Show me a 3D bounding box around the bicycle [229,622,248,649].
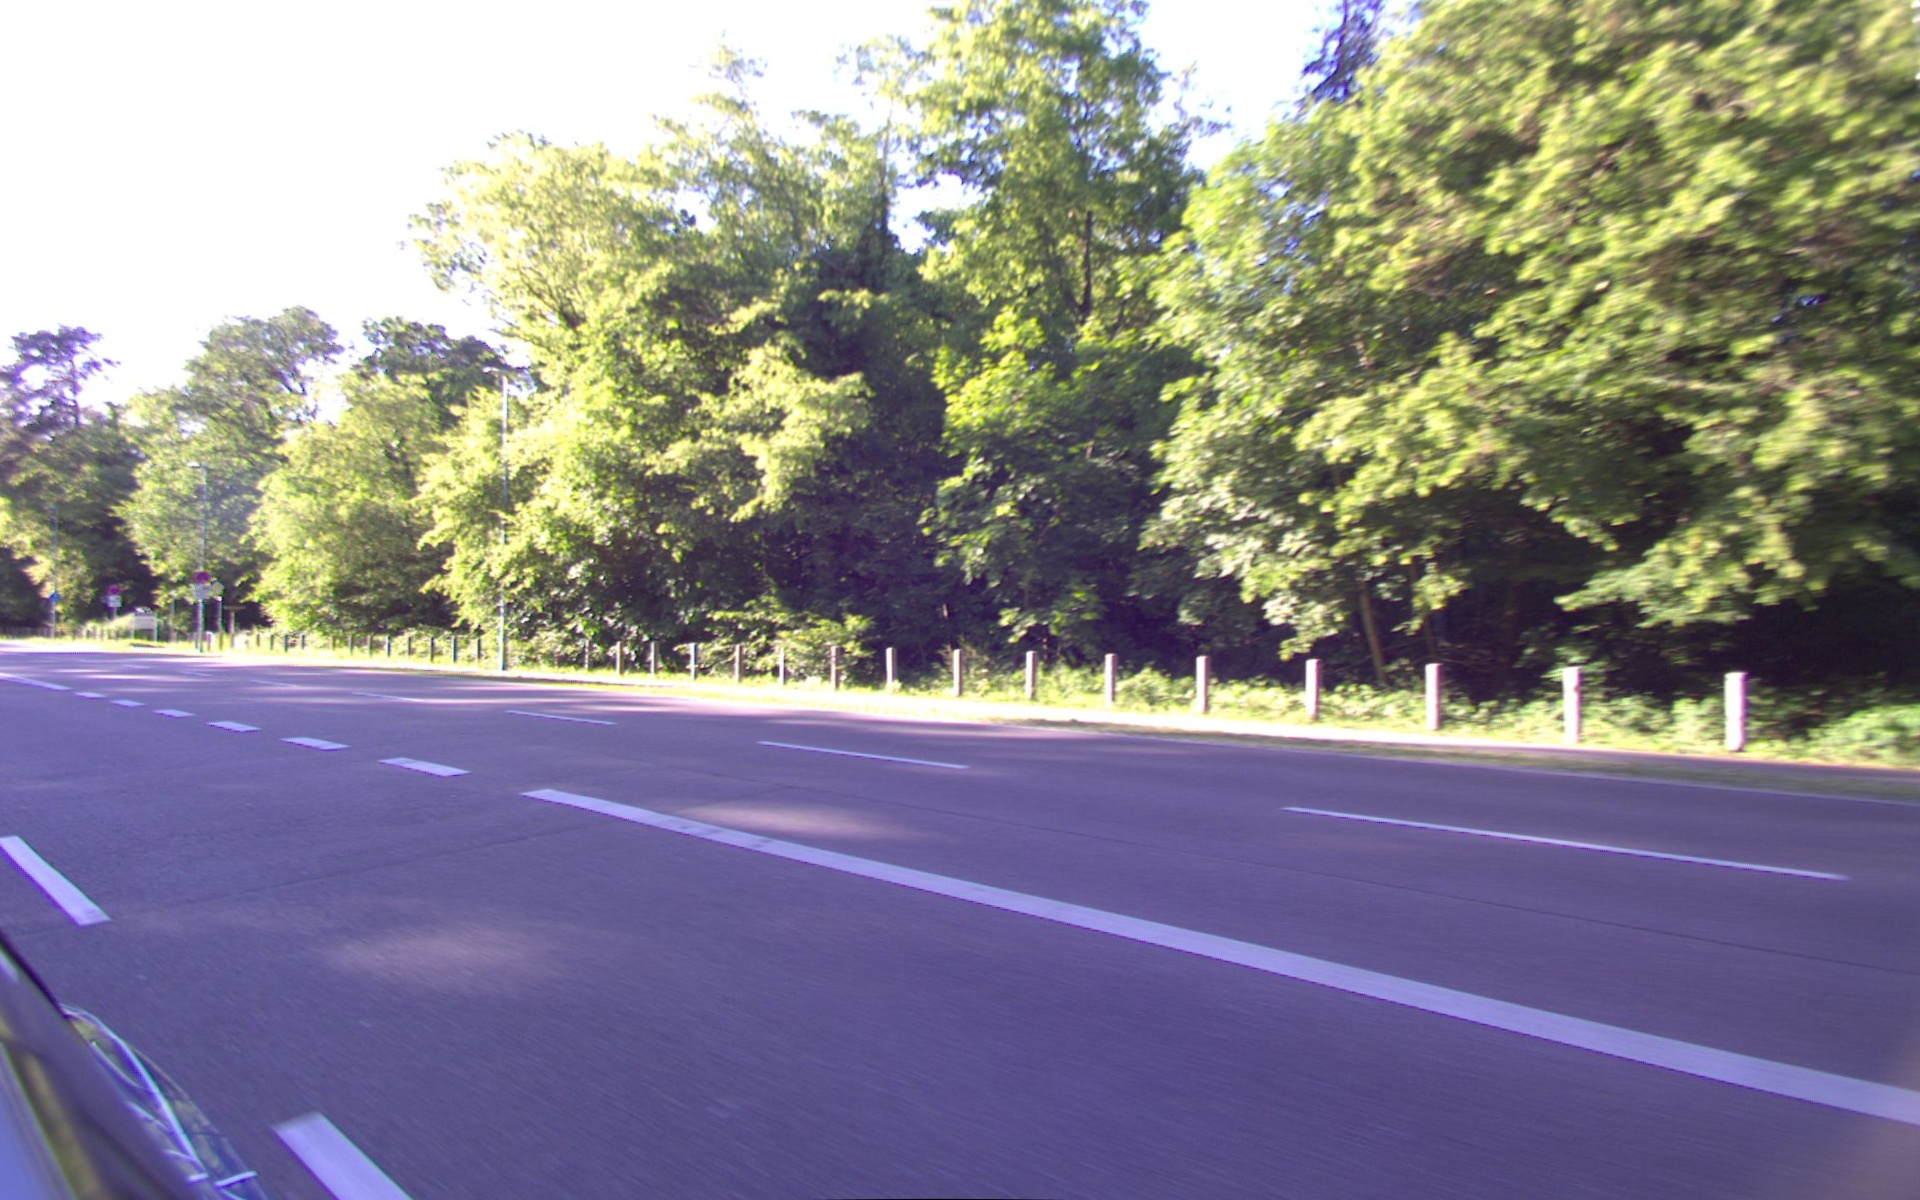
[{"bbox_3d":[-32.026,1.560,44.940,0.396,1.140,2.222,-1,1,-42],"label":"bicycle"}]
